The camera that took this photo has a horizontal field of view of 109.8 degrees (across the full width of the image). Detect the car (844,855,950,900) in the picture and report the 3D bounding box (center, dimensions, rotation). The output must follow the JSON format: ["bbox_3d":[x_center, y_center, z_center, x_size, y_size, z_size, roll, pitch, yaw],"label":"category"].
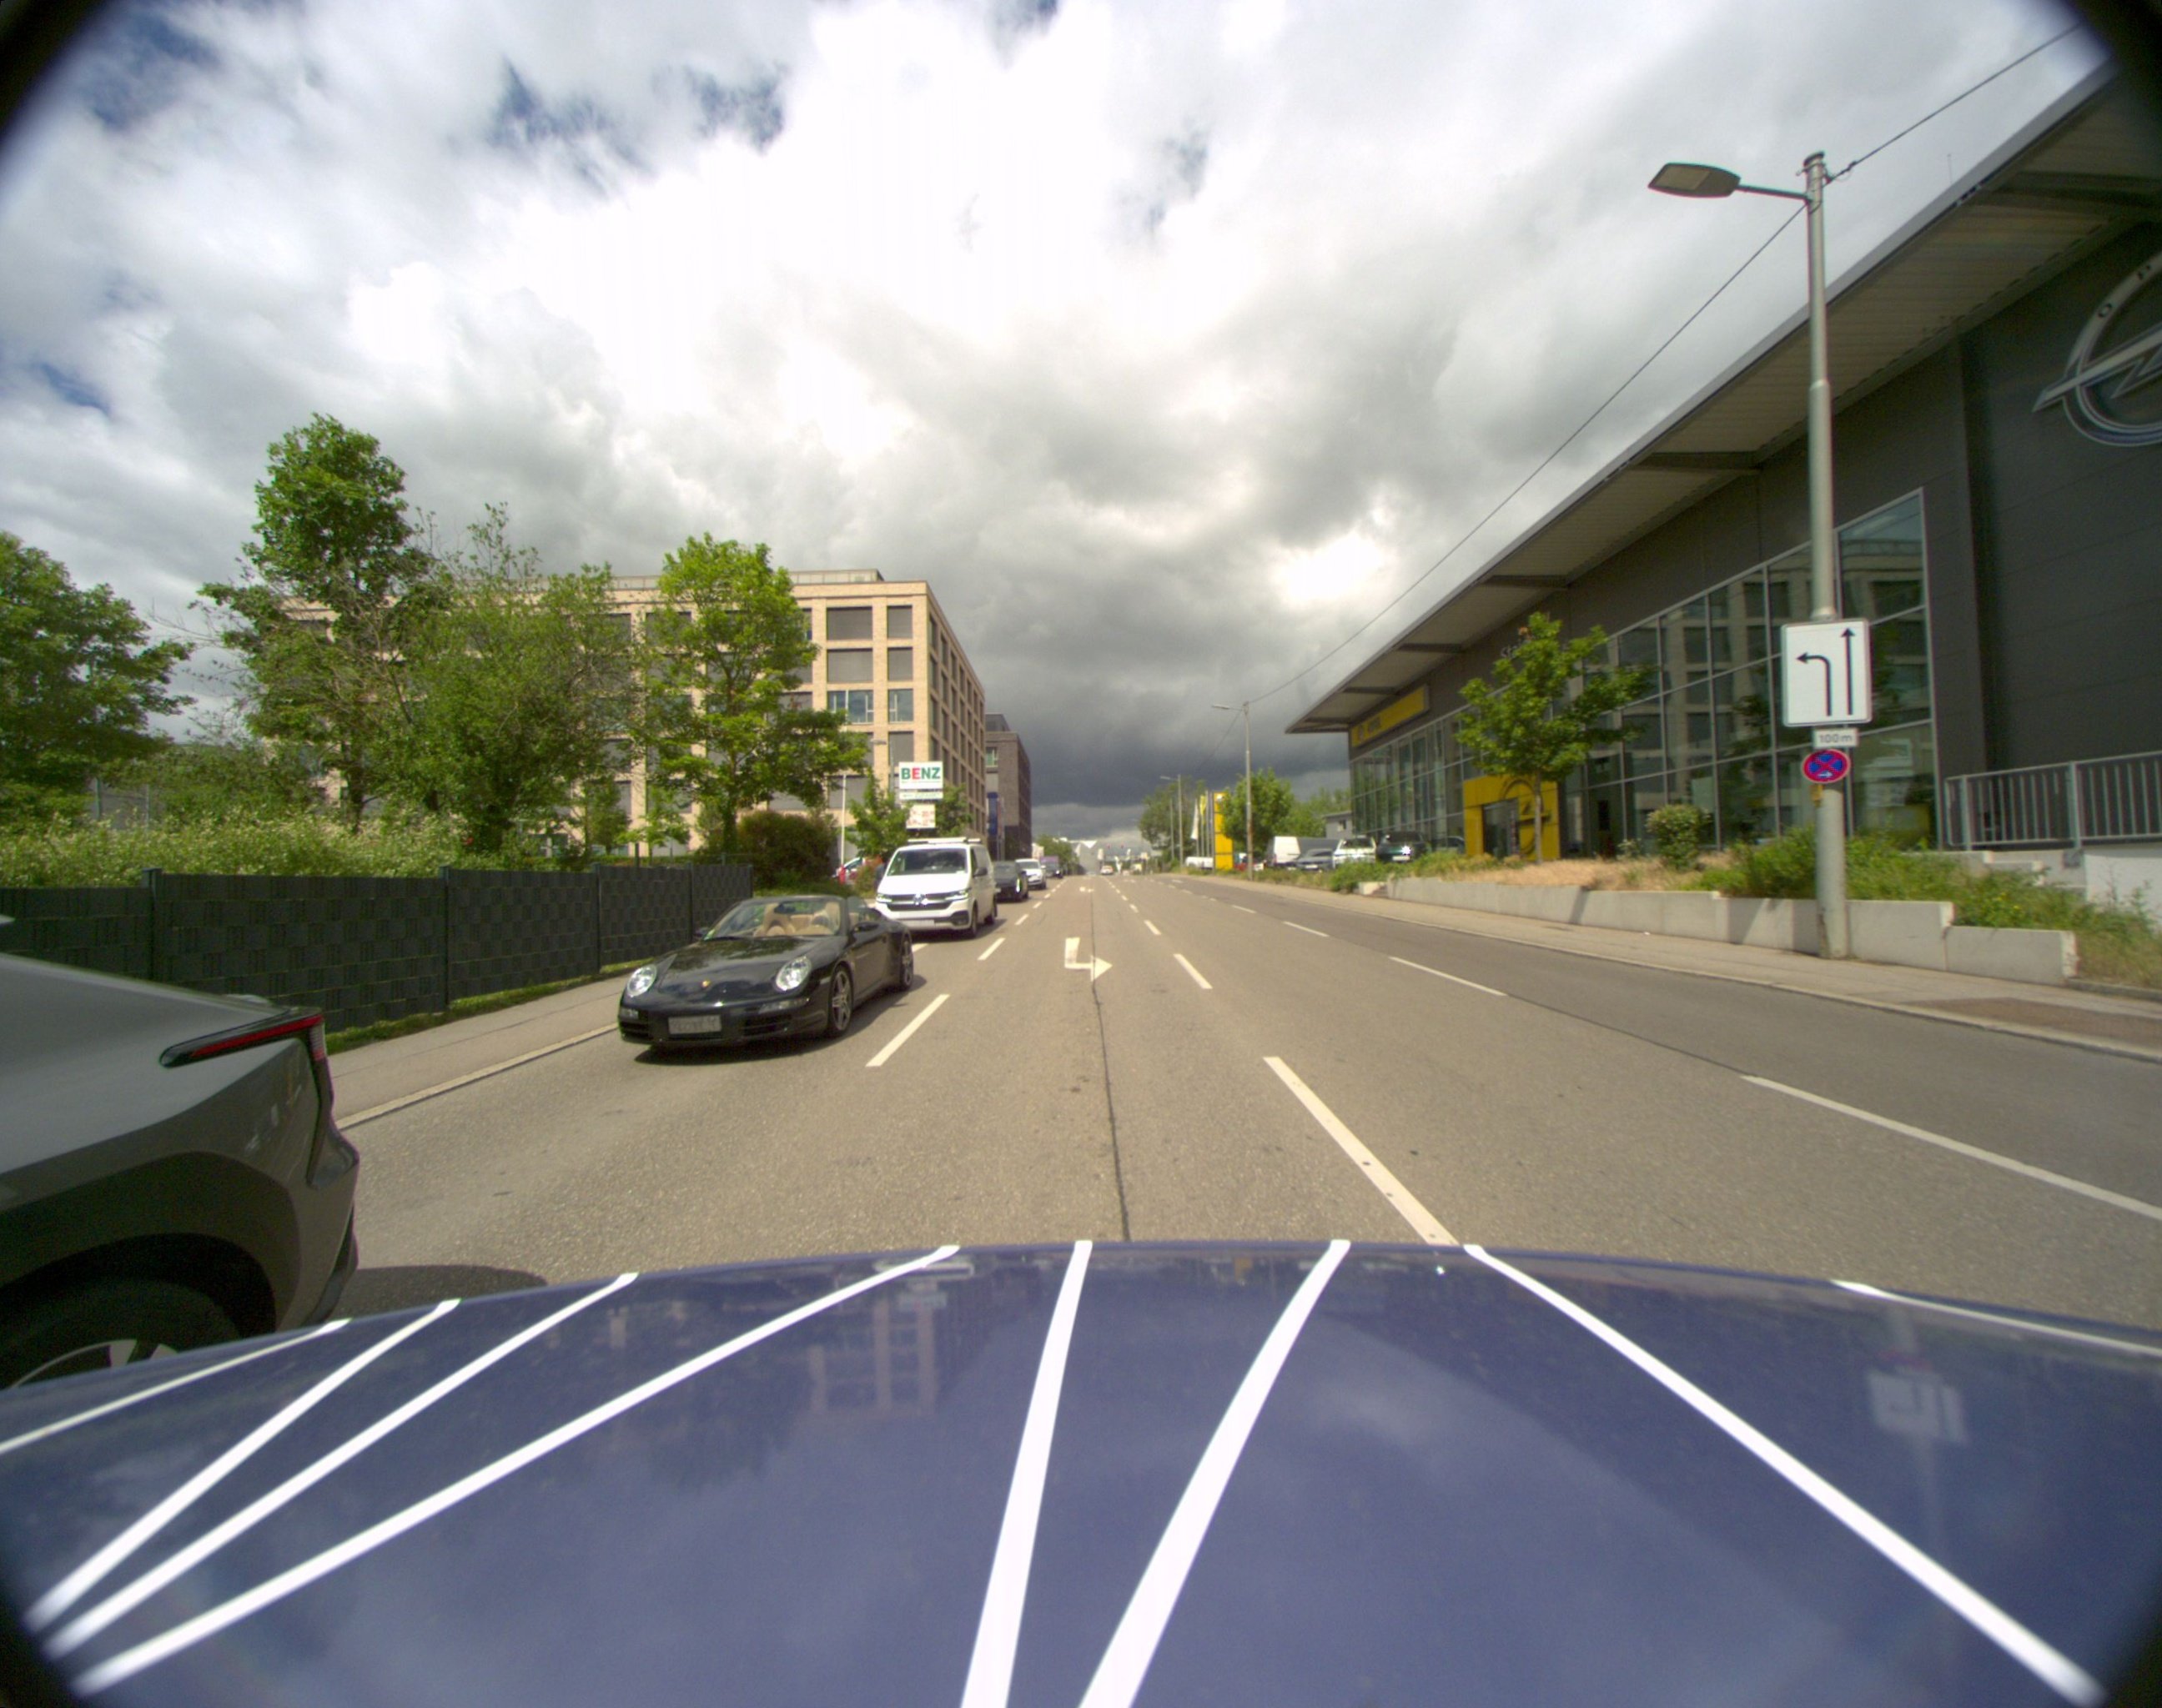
[{"bbox_3d":[-7.636,0.956,31.768,3.998,1.723,1.822,-1,1,-3],"label":"car"}]

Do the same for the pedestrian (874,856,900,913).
[{"bbox_3d":[-5.733,0.897,22.444,0.632,1.648,0.443,-1,1,-1],"label":"pedestrian"}]

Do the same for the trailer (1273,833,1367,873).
[{"bbox_3d":[14.445,-0.065,46.166,5.074,2.336,2.000,-1,1,-1],"label":"trailer"}]

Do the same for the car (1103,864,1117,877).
[{"bbox_3d":[4.492,2.488,116.846,1.998,1.731,4.547,-2,0,1],"label":"car"}]

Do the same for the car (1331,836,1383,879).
[{"bbox_3d":[12.162,0.131,33.433,1.995,1.783,4.006,-1,0,21],"label":"car"}]

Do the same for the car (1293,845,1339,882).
[{"bbox_3d":[12.101,0.471,39.006,1.995,1.783,4.006,-1,0,21],"label":"car"}]

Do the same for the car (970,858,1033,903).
[{"bbox_3d":[-2.834,0.915,27.879,1.818,1.454,4.000,-1,0,1],"label":"car"}]

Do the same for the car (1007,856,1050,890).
[{"bbox_3d":[-2.599,0.899,38.419,1.818,1.577,4.000,-1,0,1],"label":"car"}]

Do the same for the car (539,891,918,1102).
[{"bbox_3d":[-3.042,1.154,7.642,1.824,1.286,4.038,-2,0,1],"label":"car"}]

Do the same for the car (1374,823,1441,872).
[{"bbox_3d":[12.331,-0.250,28.922,1.996,1.718,4.005,-1,0,18],"label":"car"}]

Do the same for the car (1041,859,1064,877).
[{"bbox_3d":[-2.332,1.148,62.545,1.662,1.351,4.000,-1,0,1],"label":"car"}]

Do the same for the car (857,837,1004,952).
[{"bbox_3d":[-3.013,0.732,16.401,2.089,2.037,4.760,-2,0,1],"label":"car"}]
